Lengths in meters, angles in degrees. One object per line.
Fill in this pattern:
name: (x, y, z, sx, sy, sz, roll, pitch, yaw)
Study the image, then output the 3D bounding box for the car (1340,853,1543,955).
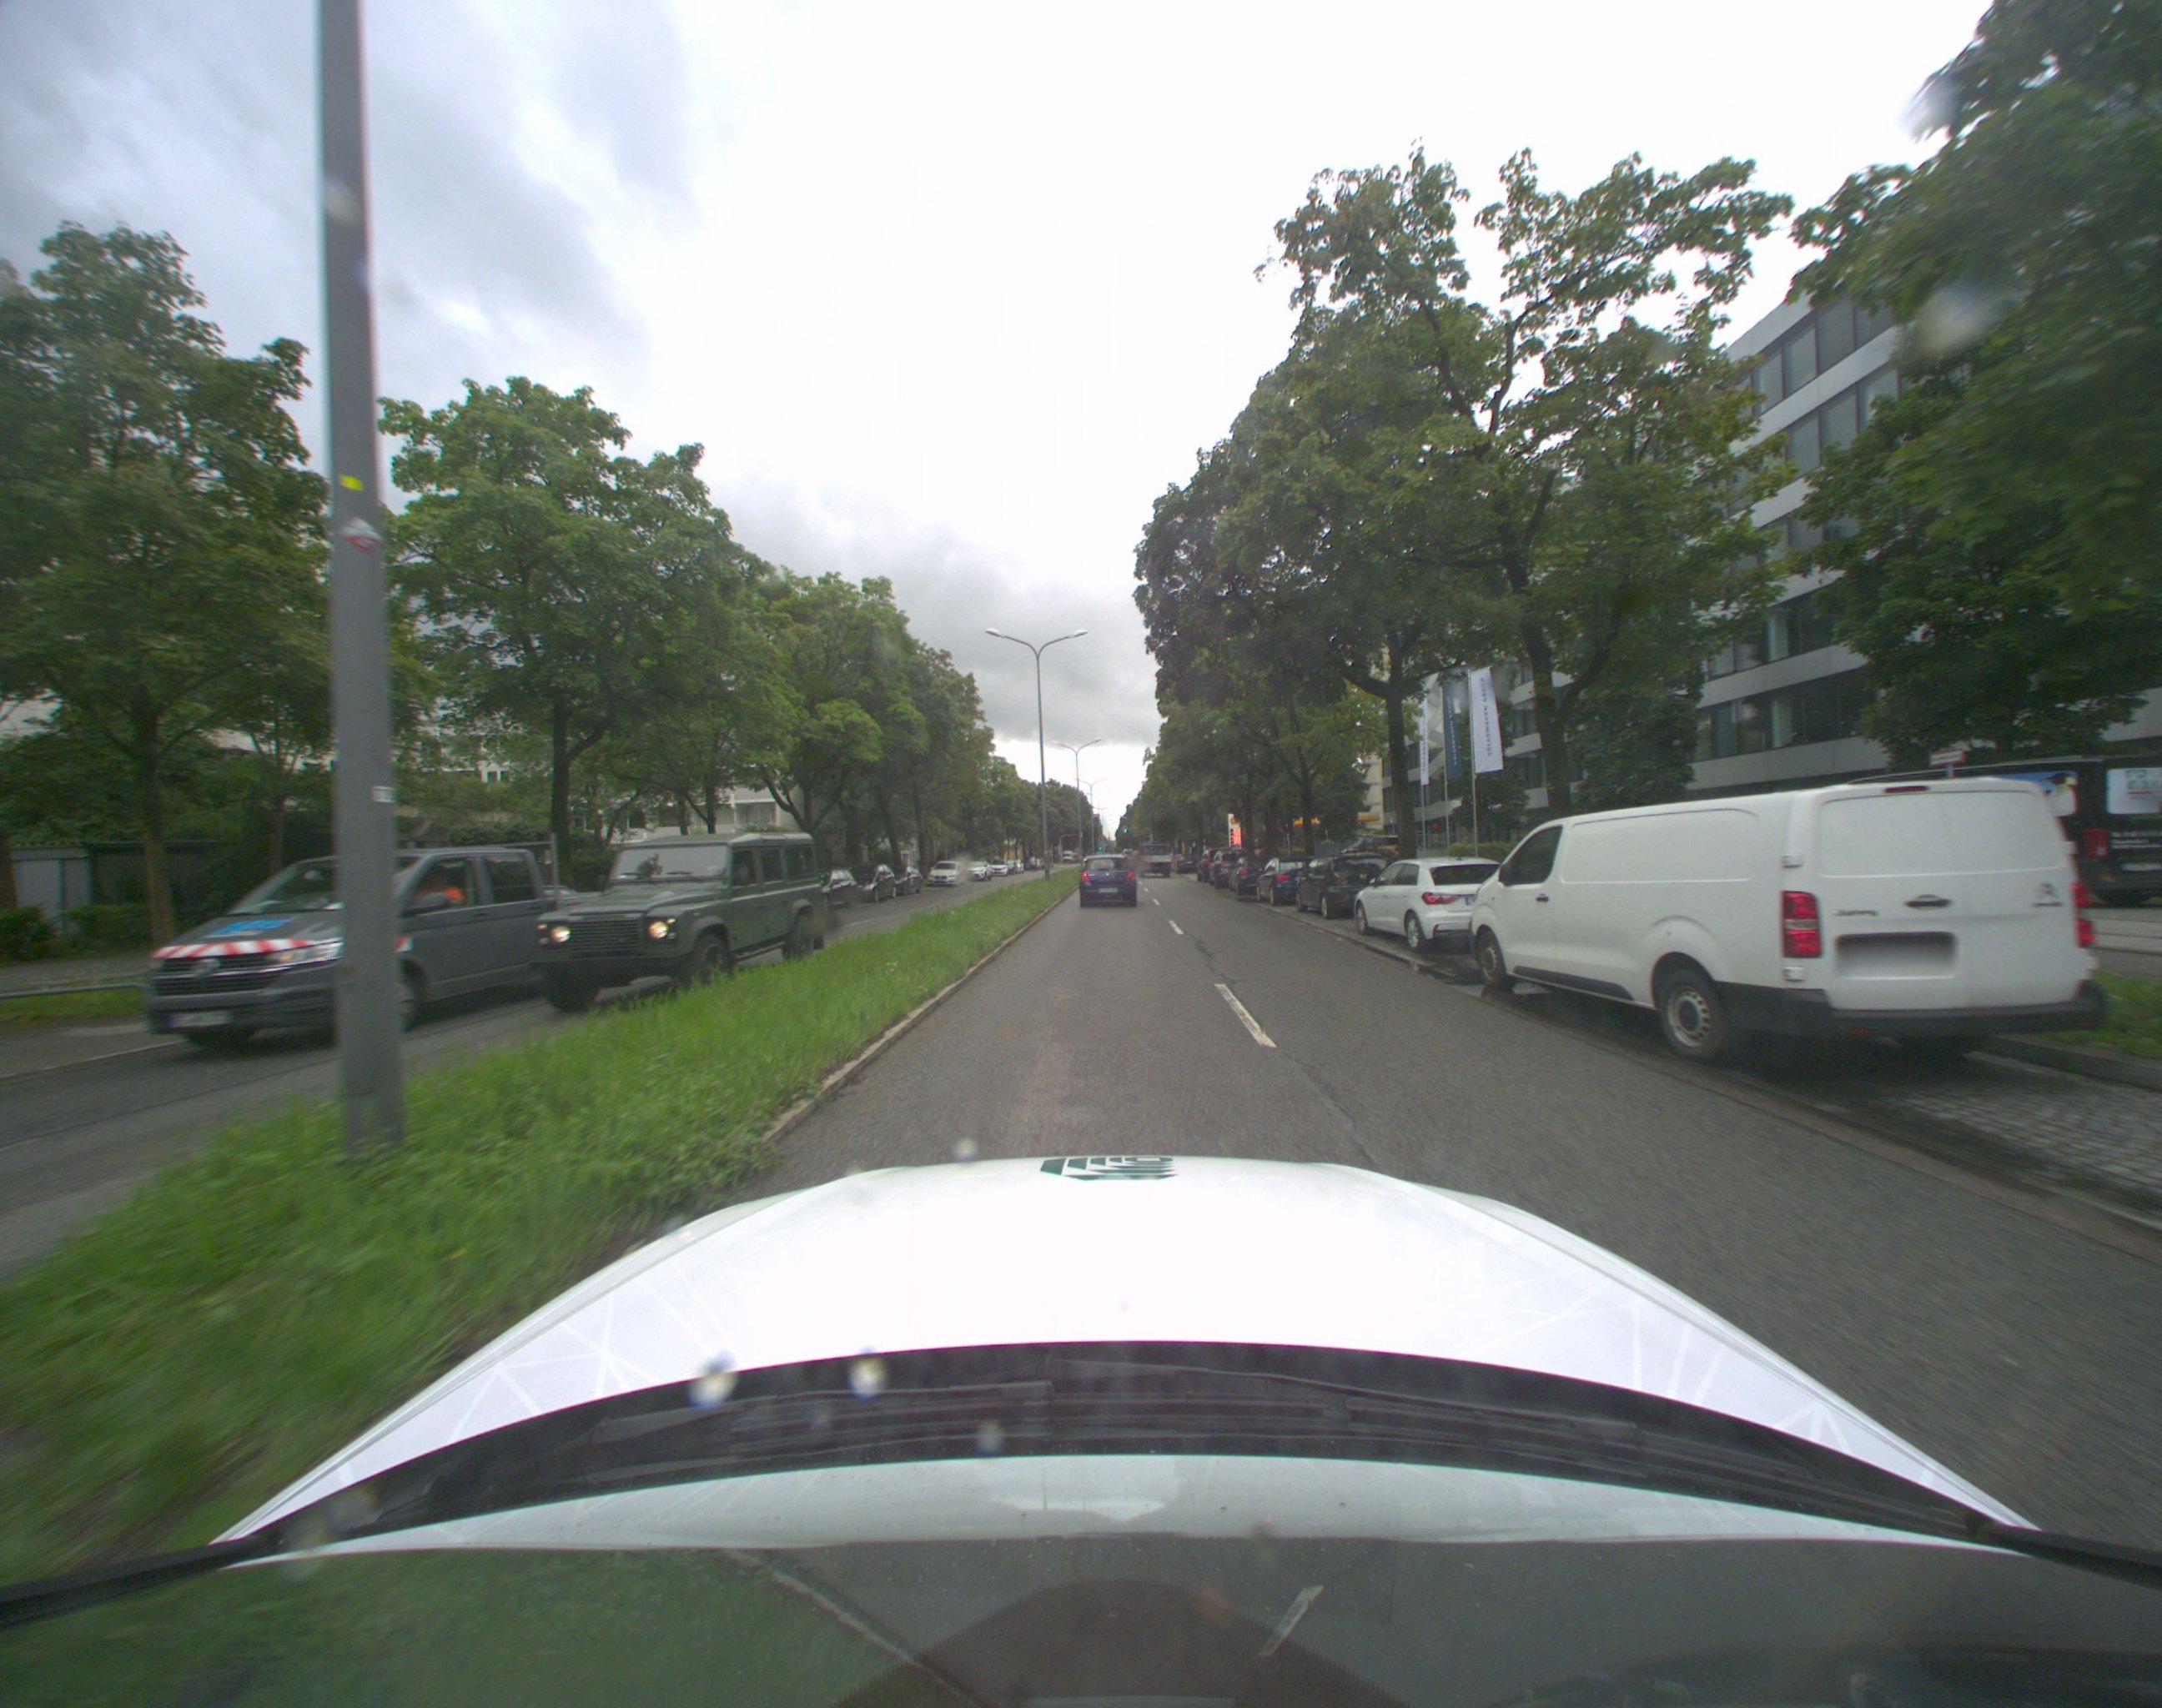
car: (5.875, 0.722, 13.861, 1.695, 1.397, 4.236, -3, 0, 3)

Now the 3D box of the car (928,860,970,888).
car: (-8.281, 1.227, 51.401, 1.750, 1.595, 4.491, 0, 0, 1)

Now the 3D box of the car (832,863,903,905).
car: (-9.023, 1.218, 34.742, 1.678, 1.597, 4.214, 0, 0, 3)

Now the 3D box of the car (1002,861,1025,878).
car: (-6.567, 1.499, 79.704, 1.668, 1.475, 4.218, 1, 0, 3)

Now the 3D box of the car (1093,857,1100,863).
car: (3.873, 1.482, 202.424, 1.730, 1.442, 4.106, -3, 0, 3)

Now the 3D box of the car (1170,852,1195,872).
car: (8.242, 0.649, 66.436, 1.669, 1.501, 4.024, -4, 0, 2)

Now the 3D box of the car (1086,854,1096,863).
car: (1.939, 0.857, 156.220, 1.732, 1.440, 4.218, -3, 0, 3)

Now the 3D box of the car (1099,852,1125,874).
car: (2.273, 0.655, 59.448, 1.792, 1.499, 3.662, -2, 0, 2)

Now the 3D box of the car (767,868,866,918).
car: (-9.322, 1.304, 29.154, 1.709, 1.524, 5.037, 1, 0, 2)

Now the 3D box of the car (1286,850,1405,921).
car: (6.222, 0.679, 19.621, 1.695, 1.446, 3.981, -3, 0, 3)

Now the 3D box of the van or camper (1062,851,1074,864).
van or camper: (-2.789, 0.708, 173.248, 2.131, 2.476, 6.263, -3, 0, 3)

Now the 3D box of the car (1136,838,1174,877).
car: (4.881, 0.216, 54.301, 2.408, 2.444, 5.092, -1, 0, 4)

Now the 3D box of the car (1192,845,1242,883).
car: (7.068, 0.490, 42.744, 1.885, 1.800, 4.864, -3, 0, 2)

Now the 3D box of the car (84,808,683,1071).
car: (-7.638, 0.761, 10.151, 2.201, 2.194, 5.802, -4, 0, 2)

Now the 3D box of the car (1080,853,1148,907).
car: (0.933, 0.746, 24.960, 1.890, 1.499, 3.659, -1, 0, -1)

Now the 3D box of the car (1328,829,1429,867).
car: (18.437, -0.383, 50.652, 5.450, 2.083, 2.148, -2, 0, 1)

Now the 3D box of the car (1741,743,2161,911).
car: (15.445, -0.411, 14.523, 2.257, 2.306, 6.268, -3, 0, 1)

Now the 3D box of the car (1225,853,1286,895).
car: (6.627, 0.711, 31.310, 1.693, 1.408, 4.519, -3, 0, 5)

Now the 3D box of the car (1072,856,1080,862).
car: (-1.214, 1.222, 193.703, 1.630, 1.442, 3.737, -3, 0, 3)

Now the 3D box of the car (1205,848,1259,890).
car: (6.707, 0.613, 36.567, 1.804, 1.675, 4.806, -3, 0, 4)

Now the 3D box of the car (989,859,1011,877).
car: (-7.382, 1.245, 74.404, 1.685, 1.565, 3.079, 1, 0, 0)

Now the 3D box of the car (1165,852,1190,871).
car: (8.362, 0.656, 70.861, 1.669, 1.453, 4.585, -4, 0, 2)

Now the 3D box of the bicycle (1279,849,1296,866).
bicycle: (15.391, 0.257, 60.715, 0.745, 1.183, 2.248, -2, 0, 2)

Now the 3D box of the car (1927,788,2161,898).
car: (18.837, -0.229, 15.001, 1.836, 1.818, 4.472, -3, 0, 1)

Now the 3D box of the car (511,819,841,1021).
car: (-4.946, 0.689, 10.906, 1.774, 2.029, 4.820, -3, 0, 2)

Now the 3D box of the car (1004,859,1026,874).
car: (-6.828, 1.286, 84.921, 1.667, 1.443, 4.323, 1, 0, 3)

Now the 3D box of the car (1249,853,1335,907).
car: (6.325, 0.734, 24.820, 1.695, 1.421, 4.124, -3, 0, 3)

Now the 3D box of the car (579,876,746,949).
car: (-9.796, 1.307, 19.472, 1.619, 1.423, 4.196, 1, 0, 3)

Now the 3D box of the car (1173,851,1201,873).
car: (8.049, 0.600, 61.928, 1.771, 1.511, 4.290, -4, 0, 4)

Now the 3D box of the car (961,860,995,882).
car: (-7.737, 1.250, 61.529, 1.824, 1.609, 4.495, 0, 0, 3)

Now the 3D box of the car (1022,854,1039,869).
car: (-6.085, 0.902, 98.459, 1.791, 1.763, 5.055, 1, 0, -1)

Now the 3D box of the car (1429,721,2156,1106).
car: (5.328, 0.351, 7.535, 1.979, 2.157, 5.559, -3, 0, 3)

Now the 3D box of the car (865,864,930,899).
car: (-8.801, 1.293, 39.493, 1.753, 1.513, 4.951, 0, 0, 3)
